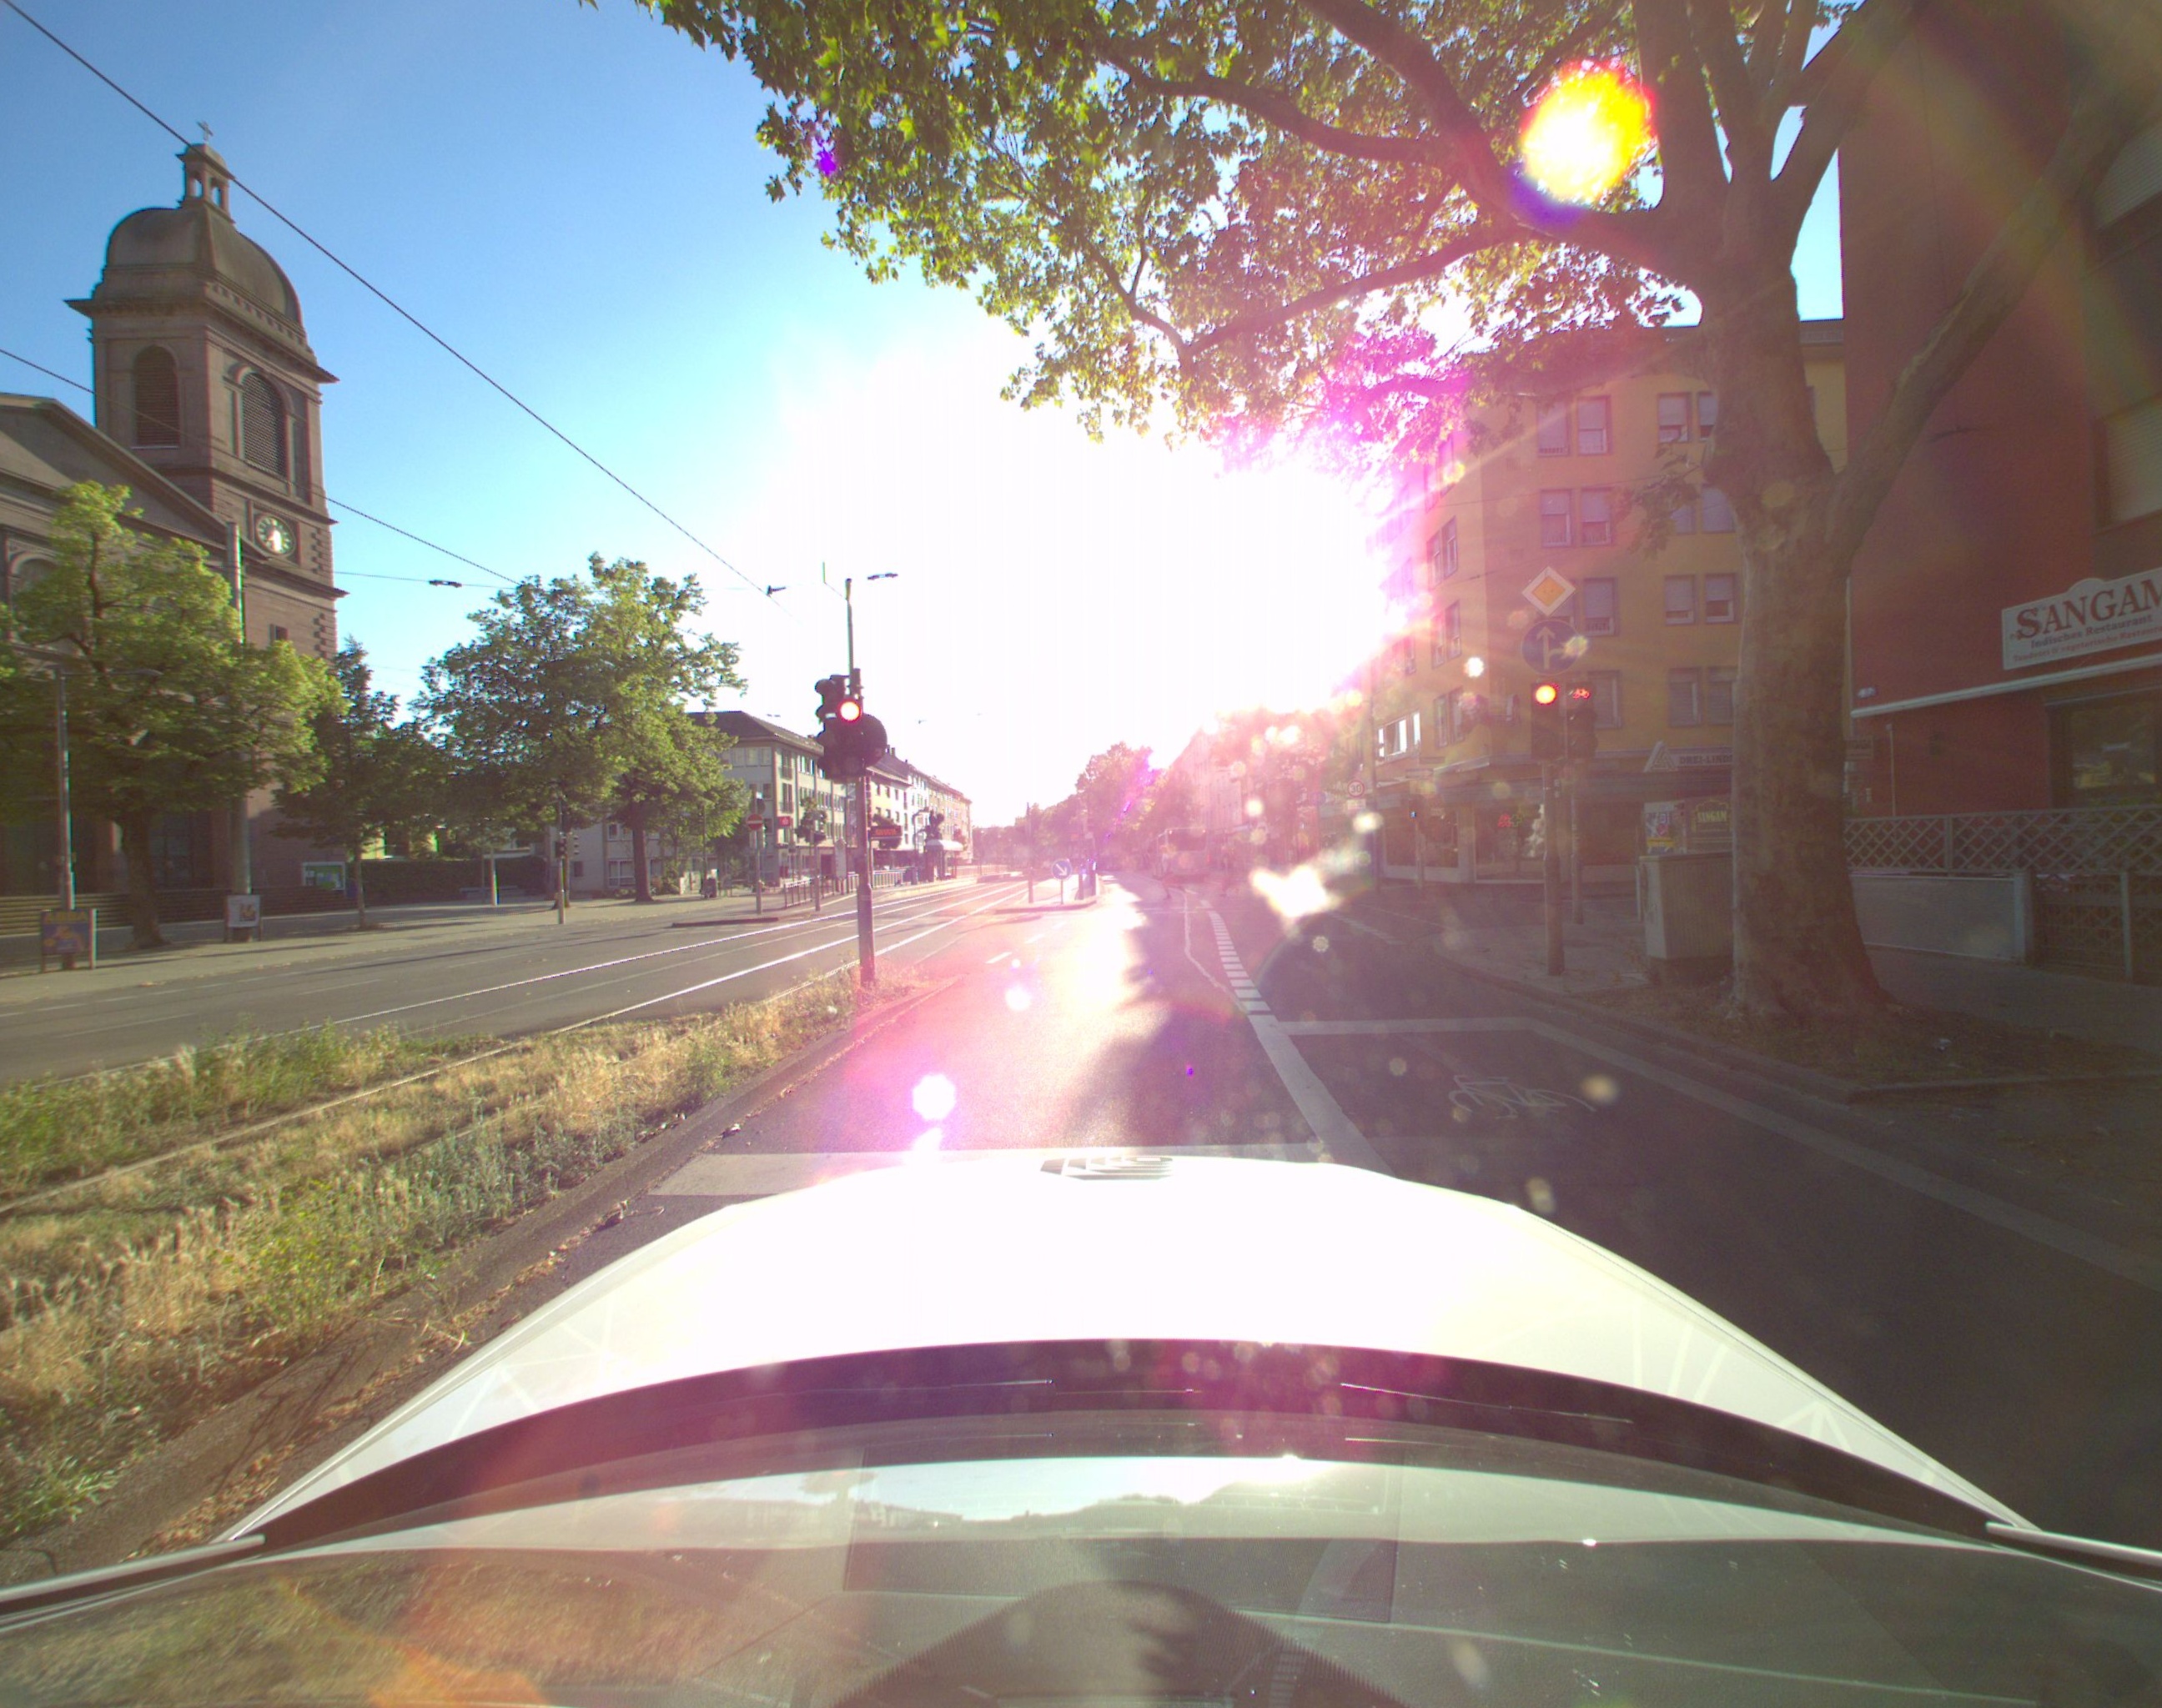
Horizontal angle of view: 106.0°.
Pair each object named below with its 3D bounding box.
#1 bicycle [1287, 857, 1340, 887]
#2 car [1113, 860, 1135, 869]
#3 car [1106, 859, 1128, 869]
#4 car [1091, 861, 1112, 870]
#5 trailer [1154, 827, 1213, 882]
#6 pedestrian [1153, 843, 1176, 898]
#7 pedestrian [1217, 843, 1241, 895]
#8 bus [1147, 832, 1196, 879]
[{"bbox_3d":[8.904,0.698,31.240,1.766,1.021,0.694,-4,-1,1],"label":"bicycle"},{"bbox_3d":[8.384,2.017,158.478,3.911,1.699,1.817,-2,0,-27],"label":"car"},{"bbox_3d":[7.199,1.975,161.140,3.911,1.699,1.817,-2,0,-27],"label":"car"},{"bbox_3d":[4.174,2.292,166.635,3.912,1.596,1.676,-2,0,-27],"label":"car"},{"bbox_3d":[6.113,0.051,50.042,2.801,3.110,8.797,0,0,2],"label":"trailer"},{"bbox_3d":[2.684,0.527,26.259,0.678,1.770,0.687,0,-1,0],"label":"pedestrian"},{"bbox_3d":[5.170,0.513,28.494,0.677,1.770,0.687,-2,0,2],"label":"pedestrian"},{"bbox_3d":[6.405,0.112,58.990,2.801,3.101,9.097,0,0,2],"label":"bus"}]
